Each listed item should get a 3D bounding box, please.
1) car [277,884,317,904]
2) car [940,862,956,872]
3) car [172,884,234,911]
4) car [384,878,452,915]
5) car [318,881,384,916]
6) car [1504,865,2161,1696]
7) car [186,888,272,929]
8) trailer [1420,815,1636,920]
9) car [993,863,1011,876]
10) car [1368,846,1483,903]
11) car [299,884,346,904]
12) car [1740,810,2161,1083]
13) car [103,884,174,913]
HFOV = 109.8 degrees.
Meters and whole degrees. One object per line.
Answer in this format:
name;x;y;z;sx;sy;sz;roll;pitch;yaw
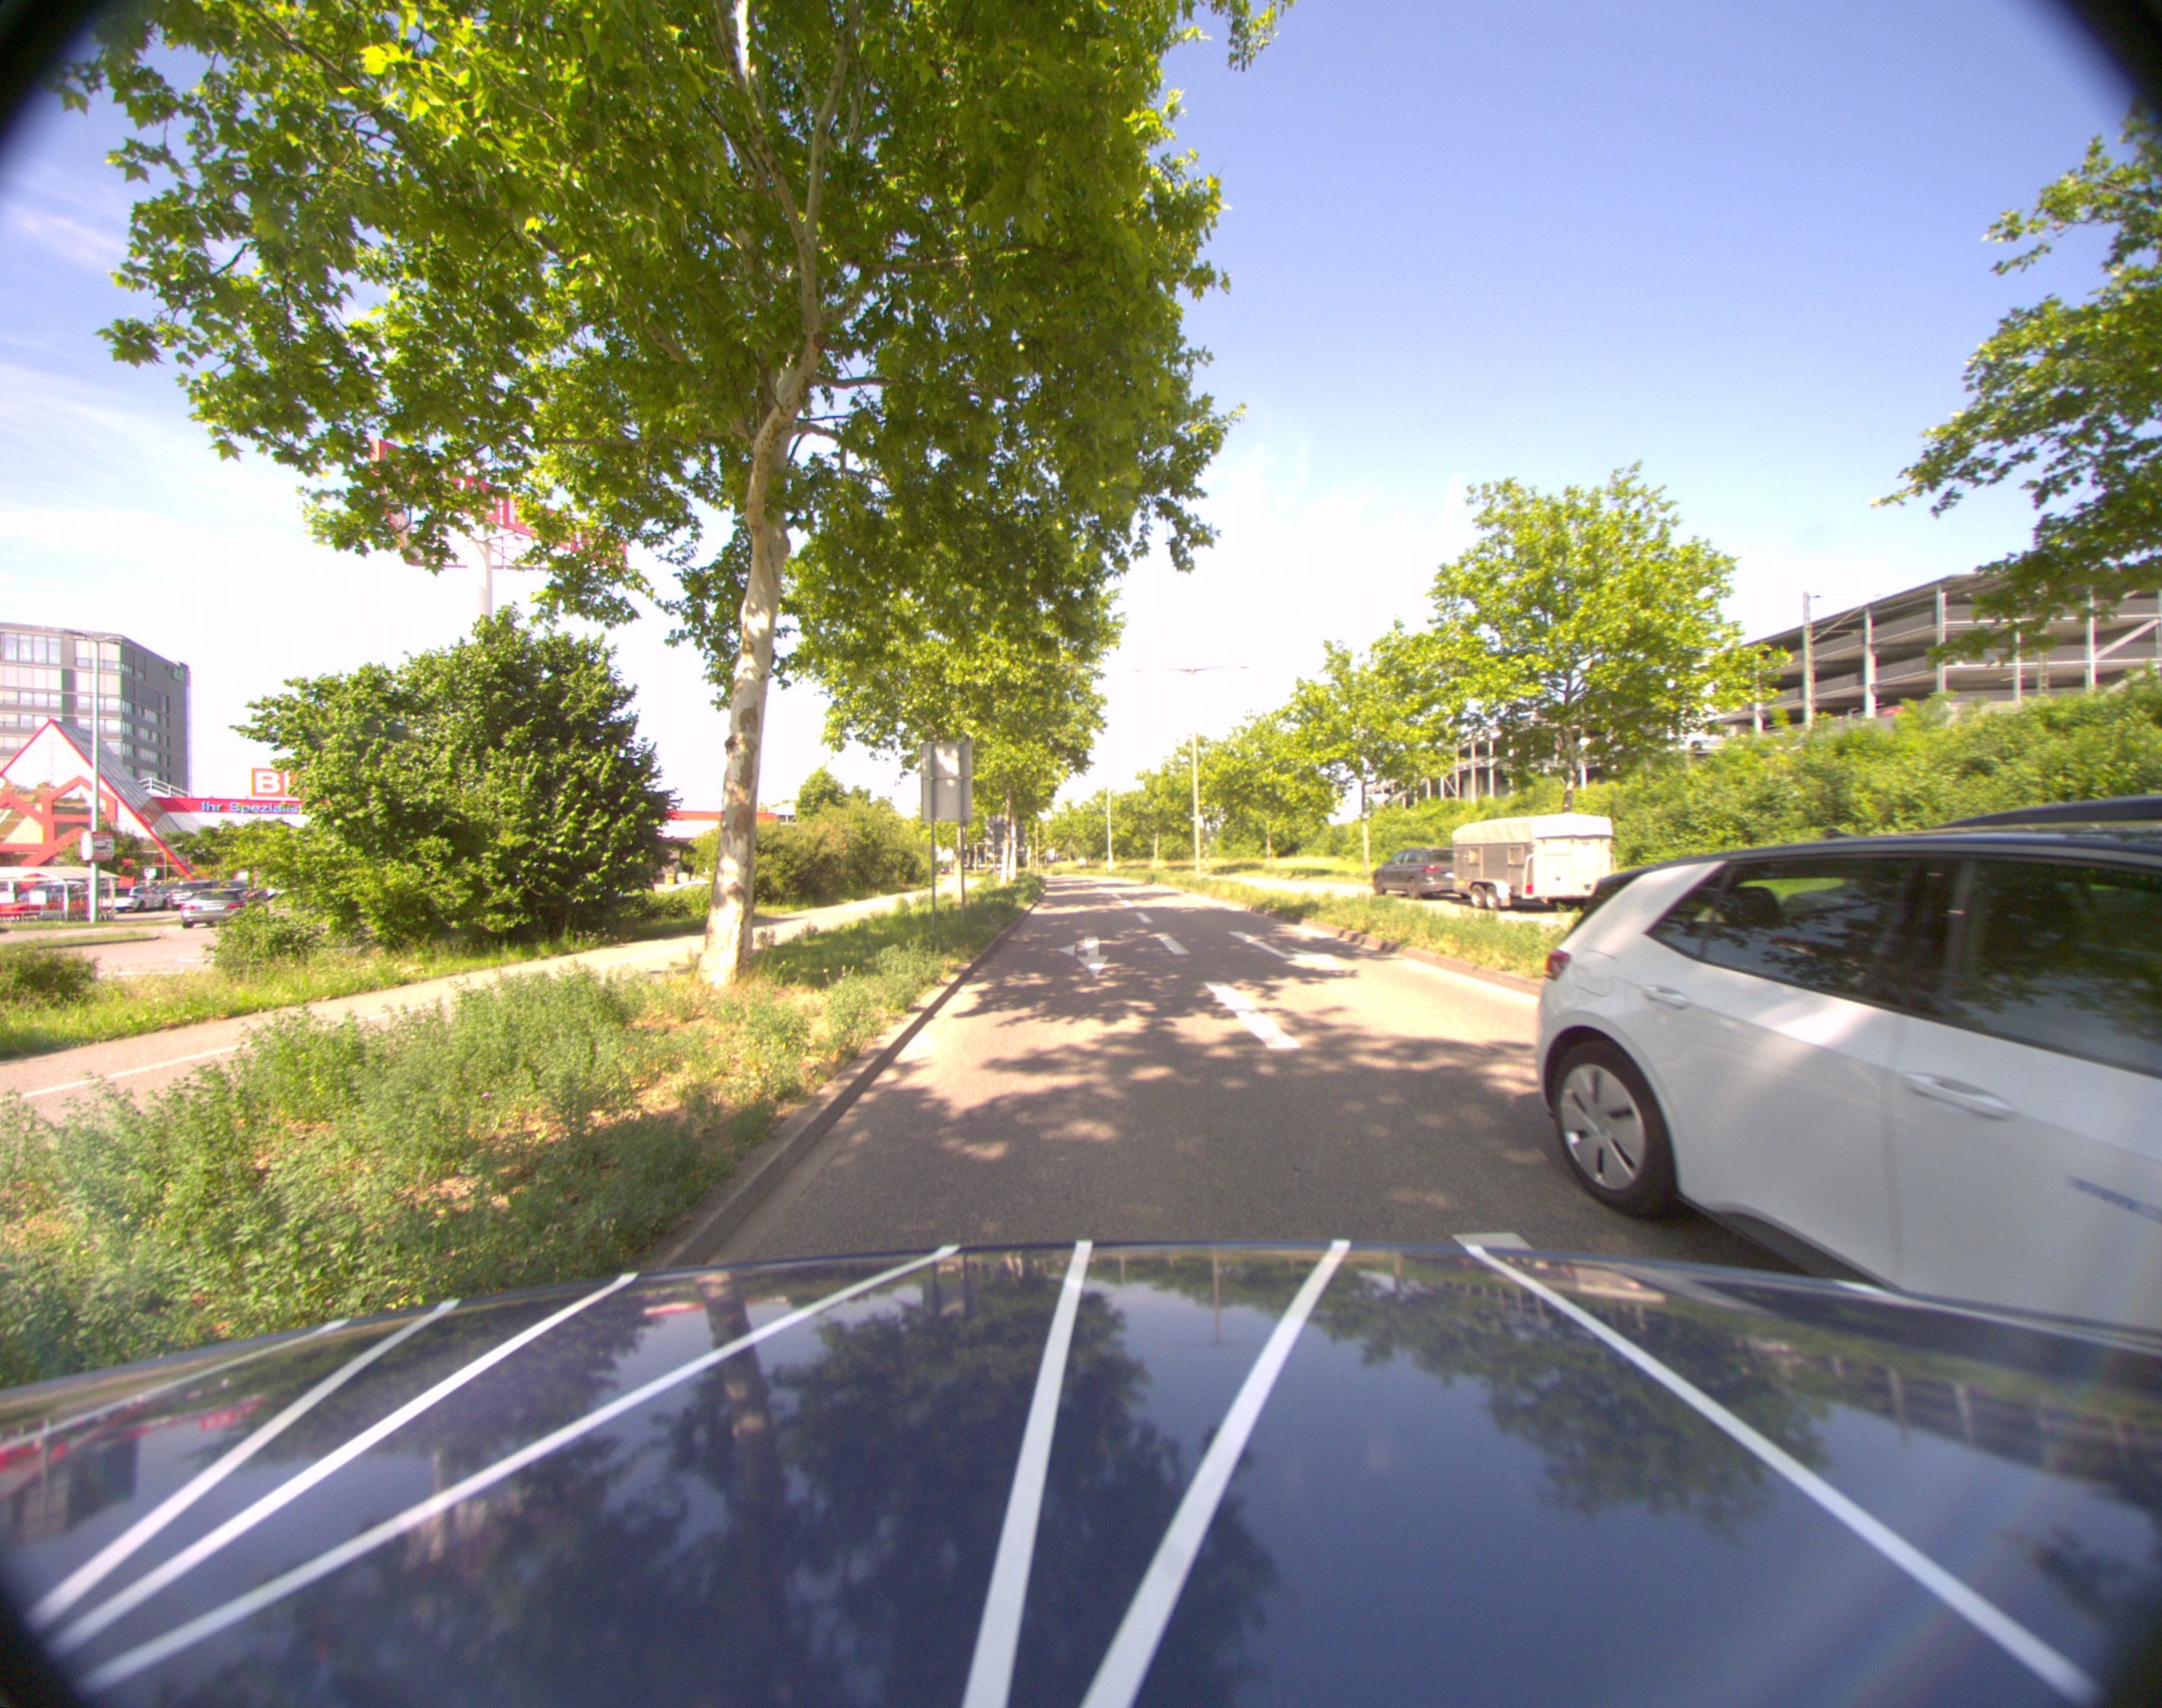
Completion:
car;-59.999;3.011;58.200;1.572;1.371;3.610;-2;0;-37
car;-23.163;2.215;132.101;1.652;1.592;3.596;-2;0;-27
car;-50.212;2.433;43.523;1.572;1.371;3.610;-2;0;-37
car;-31.275;1.981;35.952;2.004;1.499;3.989;-2;0;-36
car;-37.033;2.223;38.649;1.633;1.618;4.747;1;-2;-34
car;2.976;0.841;1.597;1.824;1.512;4.208;-2;0;0
car;-35.911;2.245;32.139;1.784;1.477;3.779;-2;0;-39
trailer;11.034;0.285;19.438;2.314;2.252;5.538;-1;0;1
car;-10.331;2.052;98.732;1.723;1.575;3.749;-2;0;-14
car;10.830;0.582;24.232;1.719;1.612;4.361;-1;0;1
car;-46.063;2.400;46.190;1.521;1.053;3.179;-3;1;-36
car;8.022;0.585;6.051;1.735;1.798;4.231;-3;0;-2
car;-51.871;2.417;41.909;1.572;1.371;3.610;-2;0;-37
